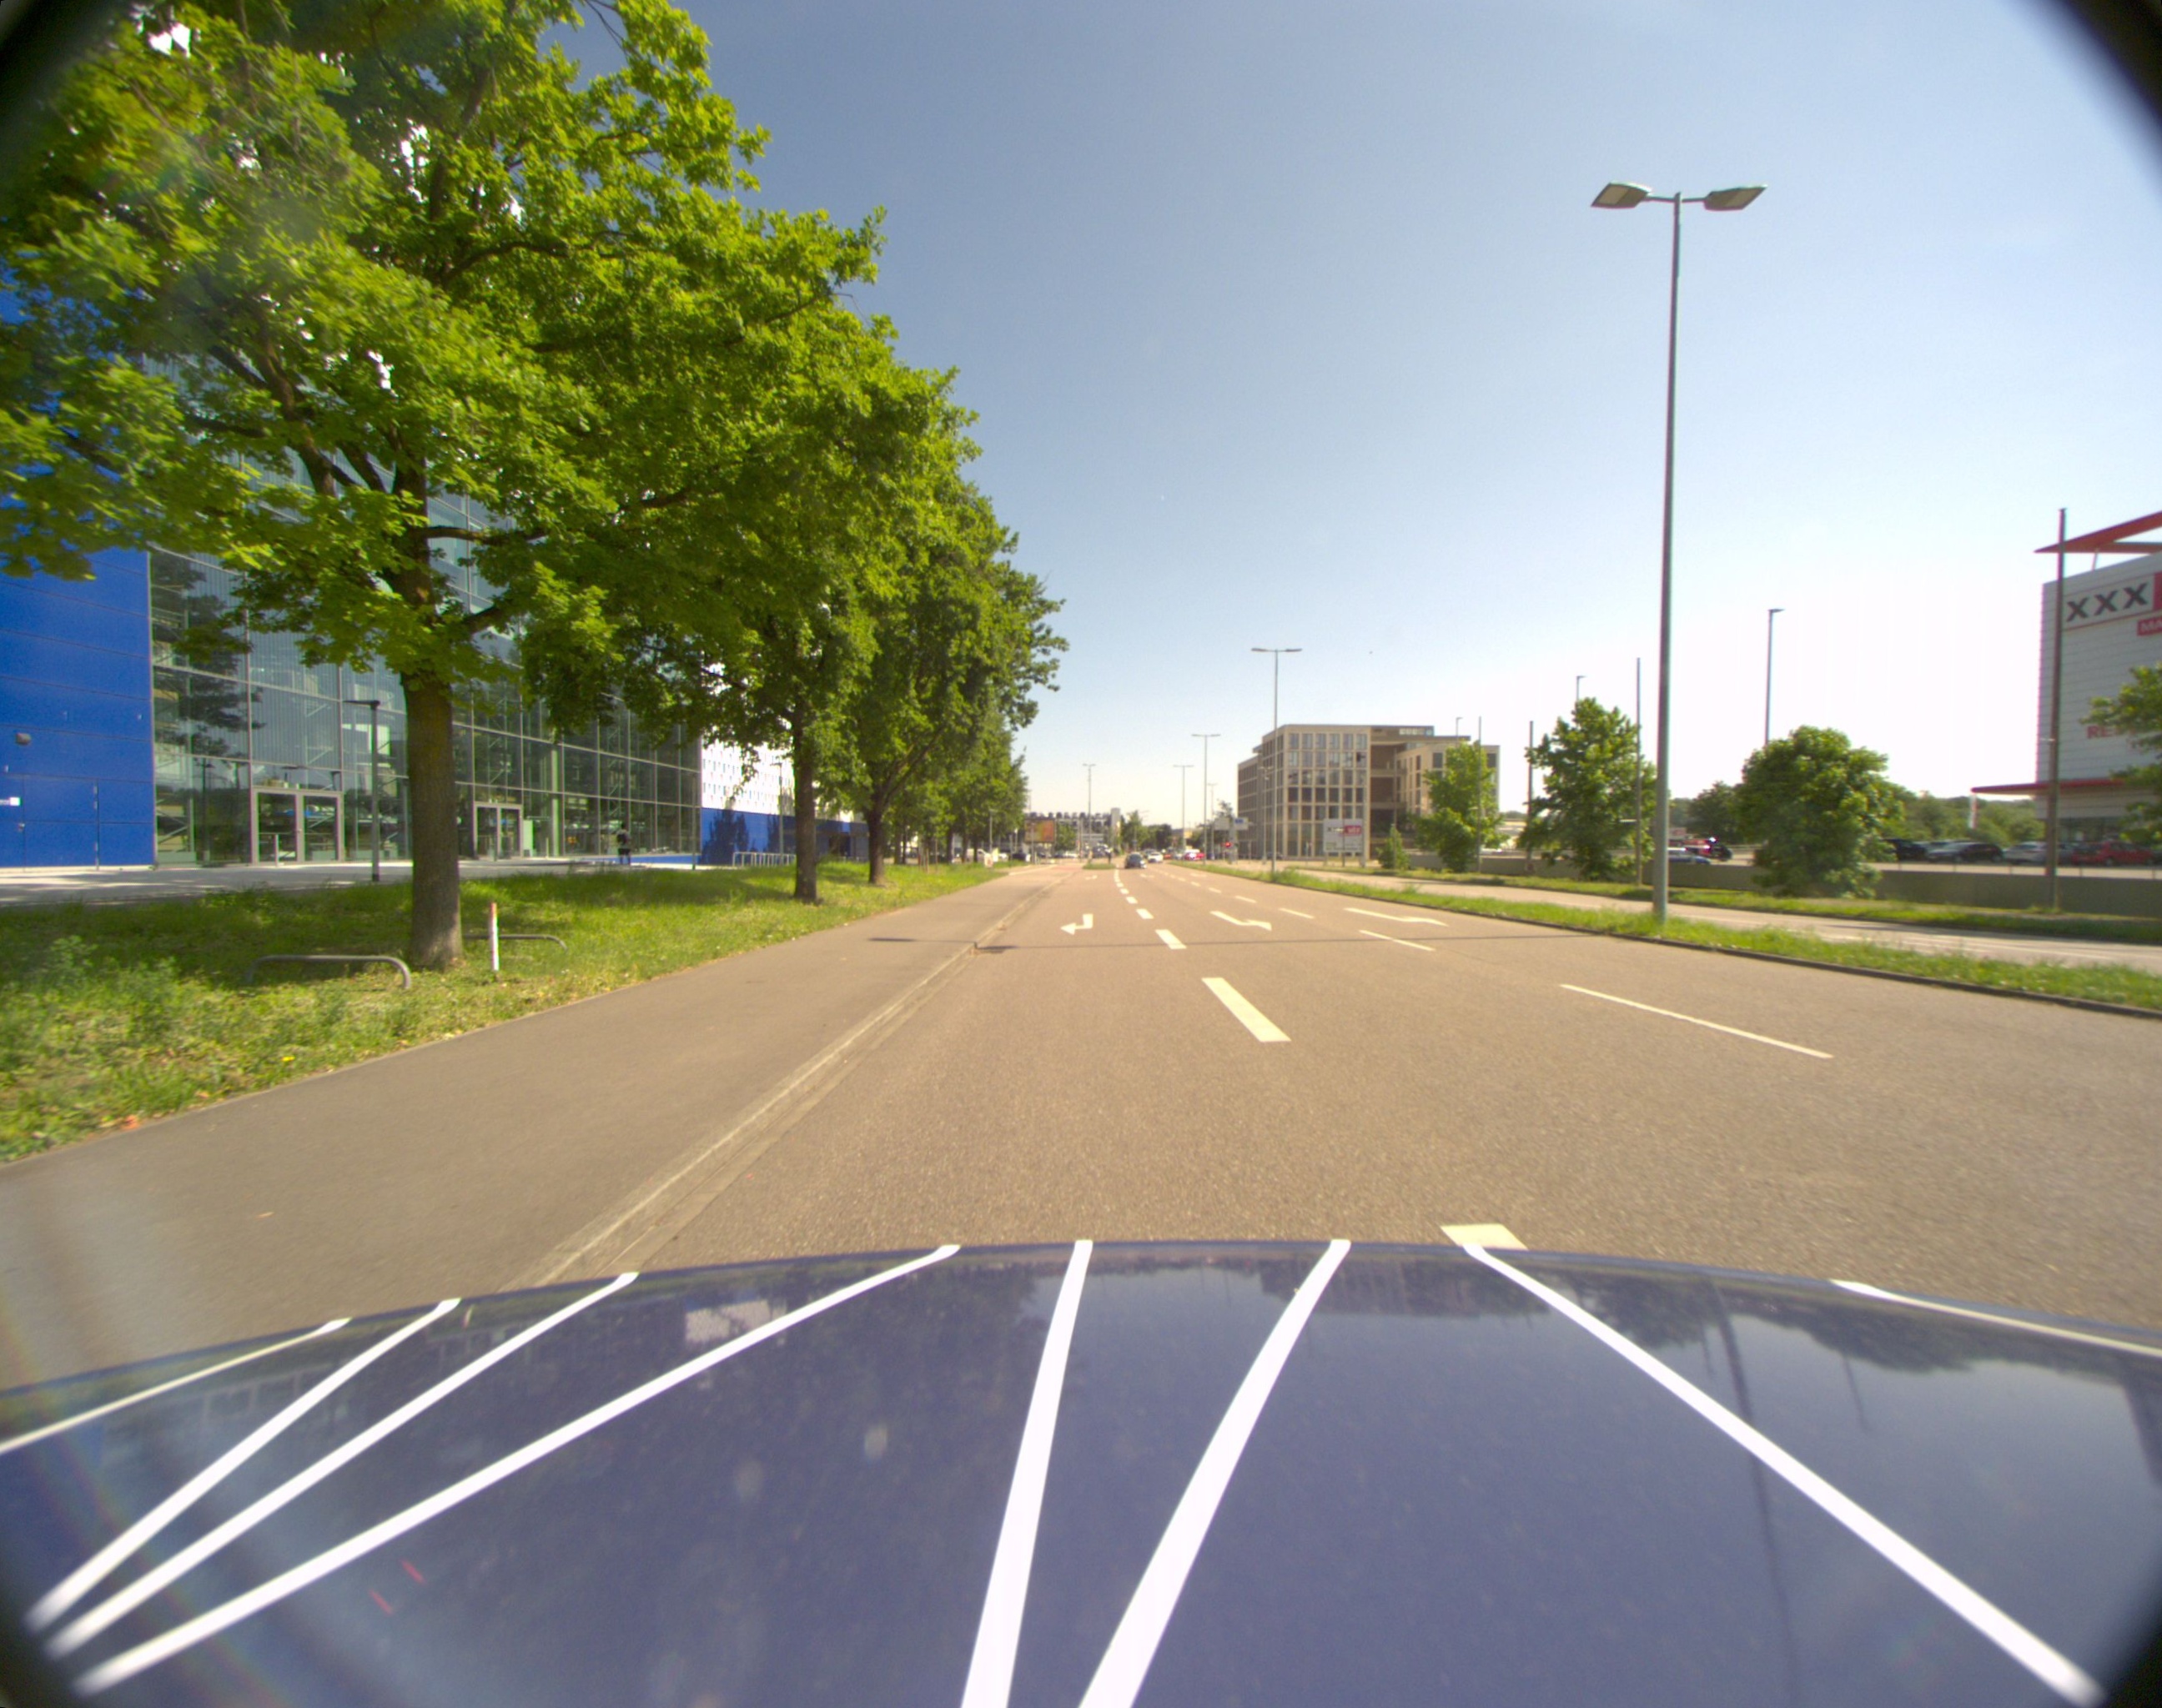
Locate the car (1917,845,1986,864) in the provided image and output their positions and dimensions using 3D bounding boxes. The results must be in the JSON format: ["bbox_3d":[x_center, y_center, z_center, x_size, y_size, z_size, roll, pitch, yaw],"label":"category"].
[{"bbox_3d":[61.738,0.005,53.922,3.095,1.322,1.515,0,2,-1],"label":"car"}]

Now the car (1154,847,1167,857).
[{"bbox_3d":[15.501,-0.460,147.572,2.184,1.898,4.733,0,1,9],"label":"car"}]

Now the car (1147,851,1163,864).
[{"bbox_3d":[10.925,0.511,112.316,2.025,1.827,4.310,0,2,1],"label":"car"}]

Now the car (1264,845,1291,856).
[{"bbox_3d":[34.101,-0.569,131.738,4.240,1.878,1.834,0,2,1],"label":"car"}]

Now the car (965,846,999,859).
[{"bbox_3d":[-15.491,-0.270,118.892,4.997,1.996,1.740,0,2,-1],"label":"car"}]

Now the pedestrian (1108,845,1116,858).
[{"bbox_3d":[4.390,-0.385,107.780,0.704,1.769,0.961,1,1,25],"label":"pedestrian"}]

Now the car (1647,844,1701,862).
[{"bbox_3d":[36.649,-0.054,46.961,2.520,1.054,1.070,0,2,-2],"label":"car"}]

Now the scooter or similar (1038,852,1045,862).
[{"bbox_3d":[-4.758,0.323,90.837,0.402,1.160,1.185,1,2,18],"label":"scooter or similar"}]

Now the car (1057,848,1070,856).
[{"bbox_3d":[-3.269,-0.436,141.540,1.997,1.452,4.001,0,1,6],"label":"car"}]

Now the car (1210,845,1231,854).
[{"bbox_3d":[30.113,-0.986,164.157,3.990,2.002,2.003,1,1,21],"label":"car"}]

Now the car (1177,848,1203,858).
[{"bbox_3d":[18.515,-0.243,129.185,4.229,1.701,1.904,0,1,-2],"label":"car"}]

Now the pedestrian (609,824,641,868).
[{"bbox_3d":[-16.798,-0.287,27.997,0.690,1.602,0.771,1,1,-3],"label":"pedestrian"}]

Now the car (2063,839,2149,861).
[{"bbox_3d":[62.640,-0.262,46.456,3.222,1.322,1.515,0,2,-1],"label":"car"}]

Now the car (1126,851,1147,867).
[{"bbox_3d":[5.760,0.510,78.914,1.771,1.456,4.237,0,2,-1],"label":"car"}]

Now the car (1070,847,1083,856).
[{"bbox_3d":[-0.813,-0.459,141.687,1.886,1.452,4.000,0,2,6],"label":"car"}]

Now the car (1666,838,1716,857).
[{"bbox_3d":[51.374,-0.508,64.066,2.774,1.547,1.774,0,0,-1],"label":"car"}]

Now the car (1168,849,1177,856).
[{"bbox_3d":[17.682,-0.273,146.759,1.737,1.356,3.868,0,1,9],"label":"car"}]

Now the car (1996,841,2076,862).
[{"bbox_3d":[61.678,-0.154,49.117,3.222,1.322,1.515,0,2,-1],"label":"car"}]

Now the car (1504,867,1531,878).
[{"bbox_3d":[41.569,1.738,72.402,1.942,0.970,1.070,0,2,-2],"label":"car"}]

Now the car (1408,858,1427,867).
[{"bbox_3d":[42.062,1.065,95.045,1.942,0.970,0.889,0,2,-2],"label":"car"}]

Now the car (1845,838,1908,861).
[{"bbox_3d":[61.736,-0.357,59.006,3.095,1.748,1.692,0,2,-1],"label":"car"}]

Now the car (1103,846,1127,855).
[{"bbox_3d":[6.400,-0.698,144.576,4.478,1.578,1.980,0,1,2],"label":"car"}]

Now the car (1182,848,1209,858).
[{"bbox_3d":[18.826,-0.164,125.119,4.117,1.519,1.530,0,1,-2],"label":"car"}]
